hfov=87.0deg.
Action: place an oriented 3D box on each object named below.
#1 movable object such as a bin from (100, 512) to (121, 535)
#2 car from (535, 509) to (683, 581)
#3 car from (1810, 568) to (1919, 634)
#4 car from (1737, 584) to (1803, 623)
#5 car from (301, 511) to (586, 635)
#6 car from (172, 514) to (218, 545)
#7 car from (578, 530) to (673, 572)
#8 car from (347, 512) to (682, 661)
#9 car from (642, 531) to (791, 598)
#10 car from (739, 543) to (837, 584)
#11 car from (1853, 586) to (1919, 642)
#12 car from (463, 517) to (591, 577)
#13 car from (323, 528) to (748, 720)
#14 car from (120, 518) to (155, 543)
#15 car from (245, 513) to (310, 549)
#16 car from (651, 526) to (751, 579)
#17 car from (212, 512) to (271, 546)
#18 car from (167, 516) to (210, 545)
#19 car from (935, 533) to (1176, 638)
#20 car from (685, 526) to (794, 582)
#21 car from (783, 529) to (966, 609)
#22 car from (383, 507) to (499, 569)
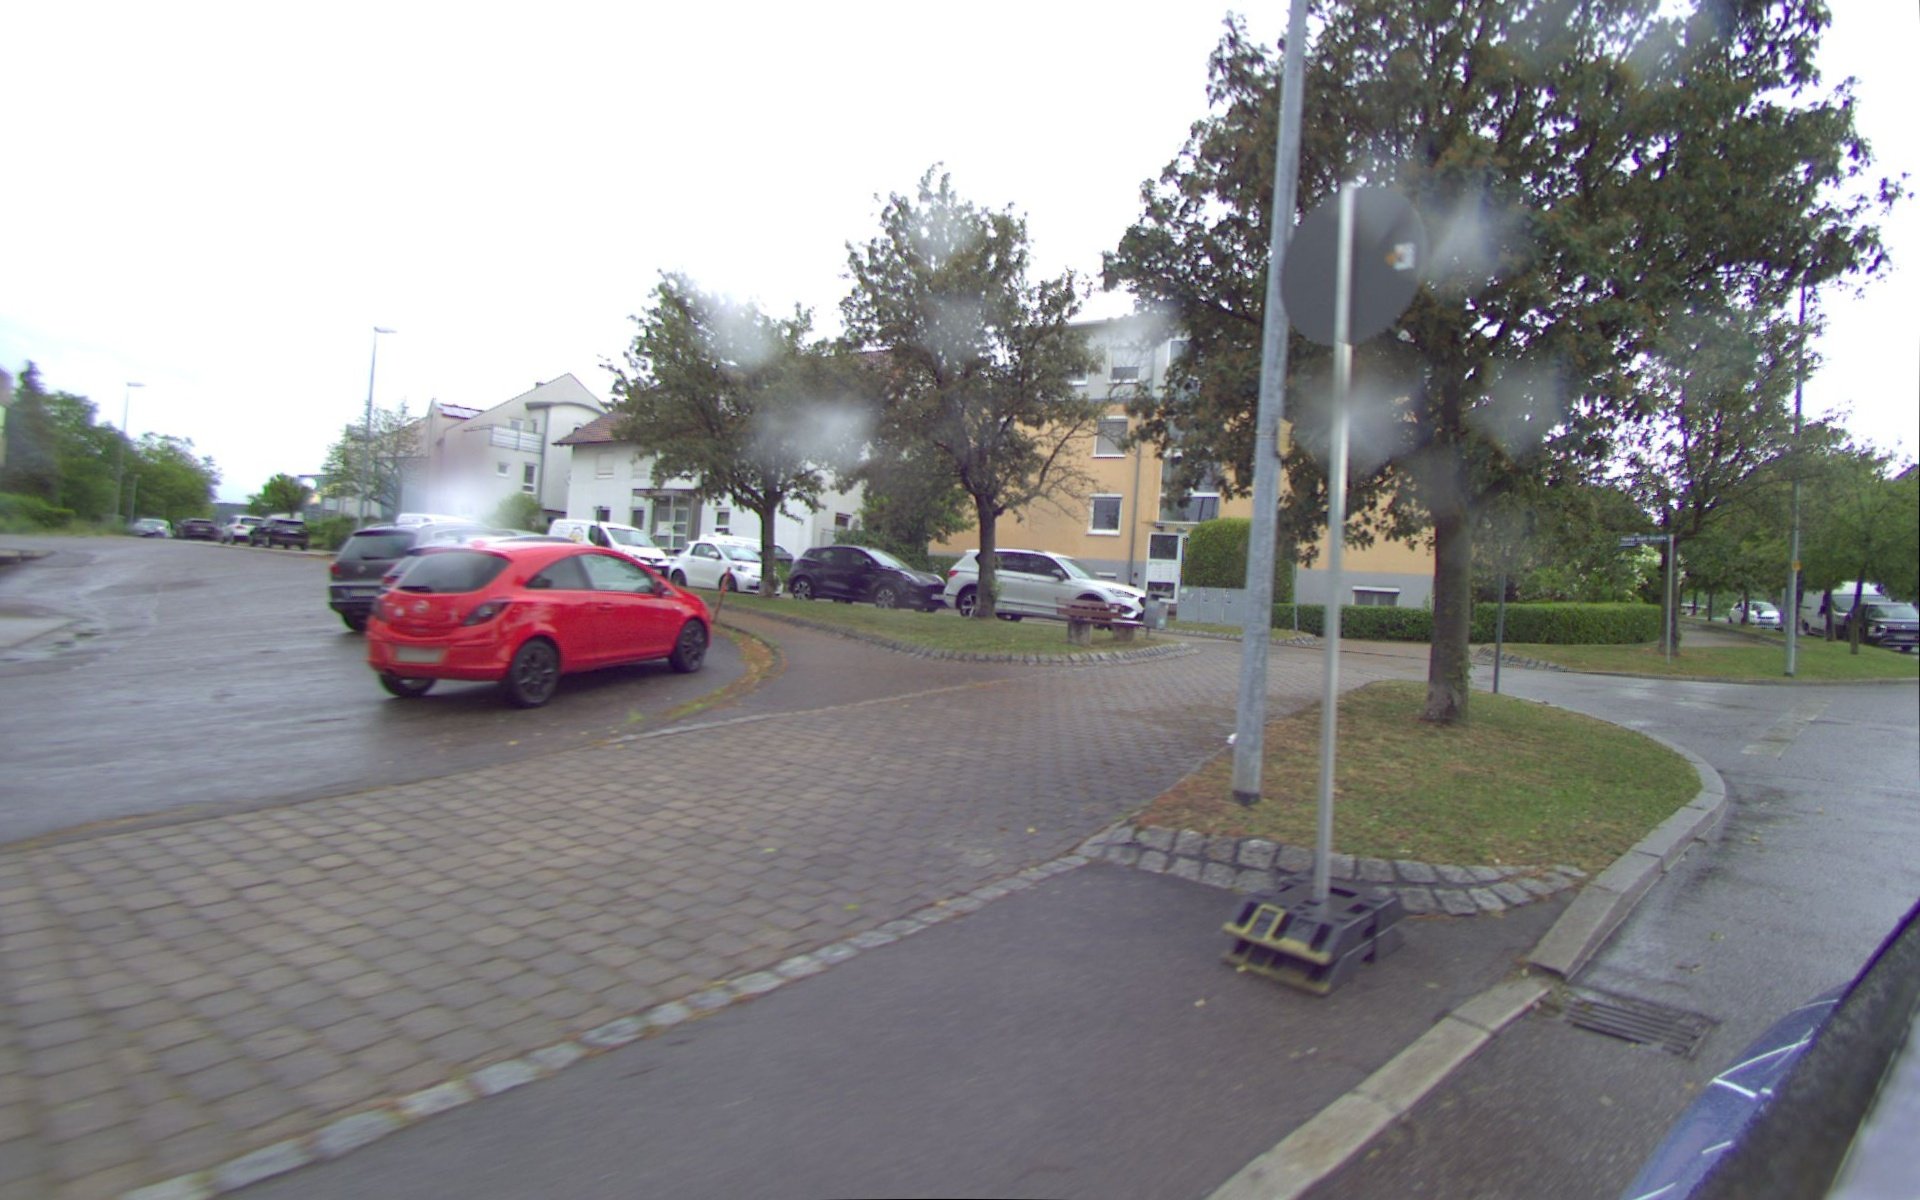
[{"bbox_3d":[-46.055,-4.164,54.868,0.920,1.220,0.647,2,2,32],"label":"movable object such as a bin"},{"bbox_3d":[-10.547,-1.641,30.303,4.393,1.953,1.908,3,0,34],"label":"car"},{"bbox_3d":[35.733,0.003,40.169,2.037,2.360,5.351,2,2,29],"label":"car"},{"bbox_3d":[42.738,0.145,53.474,1.807,1.807,3.787,2,3,25],"label":"car"},{"bbox_3d":[-8.482,-0.541,17.167,1.830,1.819,4.446,0,4,13],"label":"car"},{"bbox_3d":[-51.635,-4.727,68.258,2.156,1.898,3.994,1,2,-41],"label":"car"},{"bbox_3d":[-14.760,-2.159,44.827,1.769,1.669,3.736,4,3,29],"label":"car"},{"bbox_3d":[-6.092,-0.375,14.657,1.831,1.602,4.817,2,7,14],"label":"car"},{"bbox_3d":[-6.625,-0.974,27.449,3.804,1.689,1.813,3,2,34],"label":"car"},{"bbox_3d":[-6.604,-1.404,39.098,1.710,1.433,3.642,4,3,32],"label":"car"},{"bbox_3d":[32.602,0.441,35.101,1.805,1.748,4.595,3,3,34],"label":"car"},{"bbox_3d":[-14.019,-1.711,32.731,3.993,1.754,1.931,3,0,35],"label":"car"},{"bbox_3d":[-4.205,0.037,10.906,1.835,1.603,4.303,2,5,19],"label":"car"},{"bbox_3d":[-68.905,-5.790,84.747,2.156,1.898,3.994,1,2,-41],"label":"car"},{"bbox_3d":[-36.113,-3.643,53.549,3.986,1.720,1.903,5,3,41],"label":"car"},{"bbox_3d":[-10.652,-1.930,41.905,1.722,1.986,3.845,4,3,32],"label":"car"},{"bbox_3d":[-40.845,-4.043,57.493,3.987,1.762,1.875,5,3,42],"label":"car"},{"bbox_3d":[-54.863,-4.945,71.967,2.156,1.898,3.994,1,2,-41],"label":"car"},{"bbox_3d":[1.972,-0.378,21.484,4.681,1.836,1.925,5,3,33],"label":"car"},{"bbox_3d":[-8.768,-1.822,40.561,1.987,2.038,3.952,4,3,34],"label":"car"},{"bbox_3d":[-2.085,-0.761,24.355,3.989,1.754,1.933,3,0,32],"label":"car"},{"bbox_3d":[-18.501,-2.201,36.025,4.132,1.994,1.931,3,0,35],"label":"car"}]
